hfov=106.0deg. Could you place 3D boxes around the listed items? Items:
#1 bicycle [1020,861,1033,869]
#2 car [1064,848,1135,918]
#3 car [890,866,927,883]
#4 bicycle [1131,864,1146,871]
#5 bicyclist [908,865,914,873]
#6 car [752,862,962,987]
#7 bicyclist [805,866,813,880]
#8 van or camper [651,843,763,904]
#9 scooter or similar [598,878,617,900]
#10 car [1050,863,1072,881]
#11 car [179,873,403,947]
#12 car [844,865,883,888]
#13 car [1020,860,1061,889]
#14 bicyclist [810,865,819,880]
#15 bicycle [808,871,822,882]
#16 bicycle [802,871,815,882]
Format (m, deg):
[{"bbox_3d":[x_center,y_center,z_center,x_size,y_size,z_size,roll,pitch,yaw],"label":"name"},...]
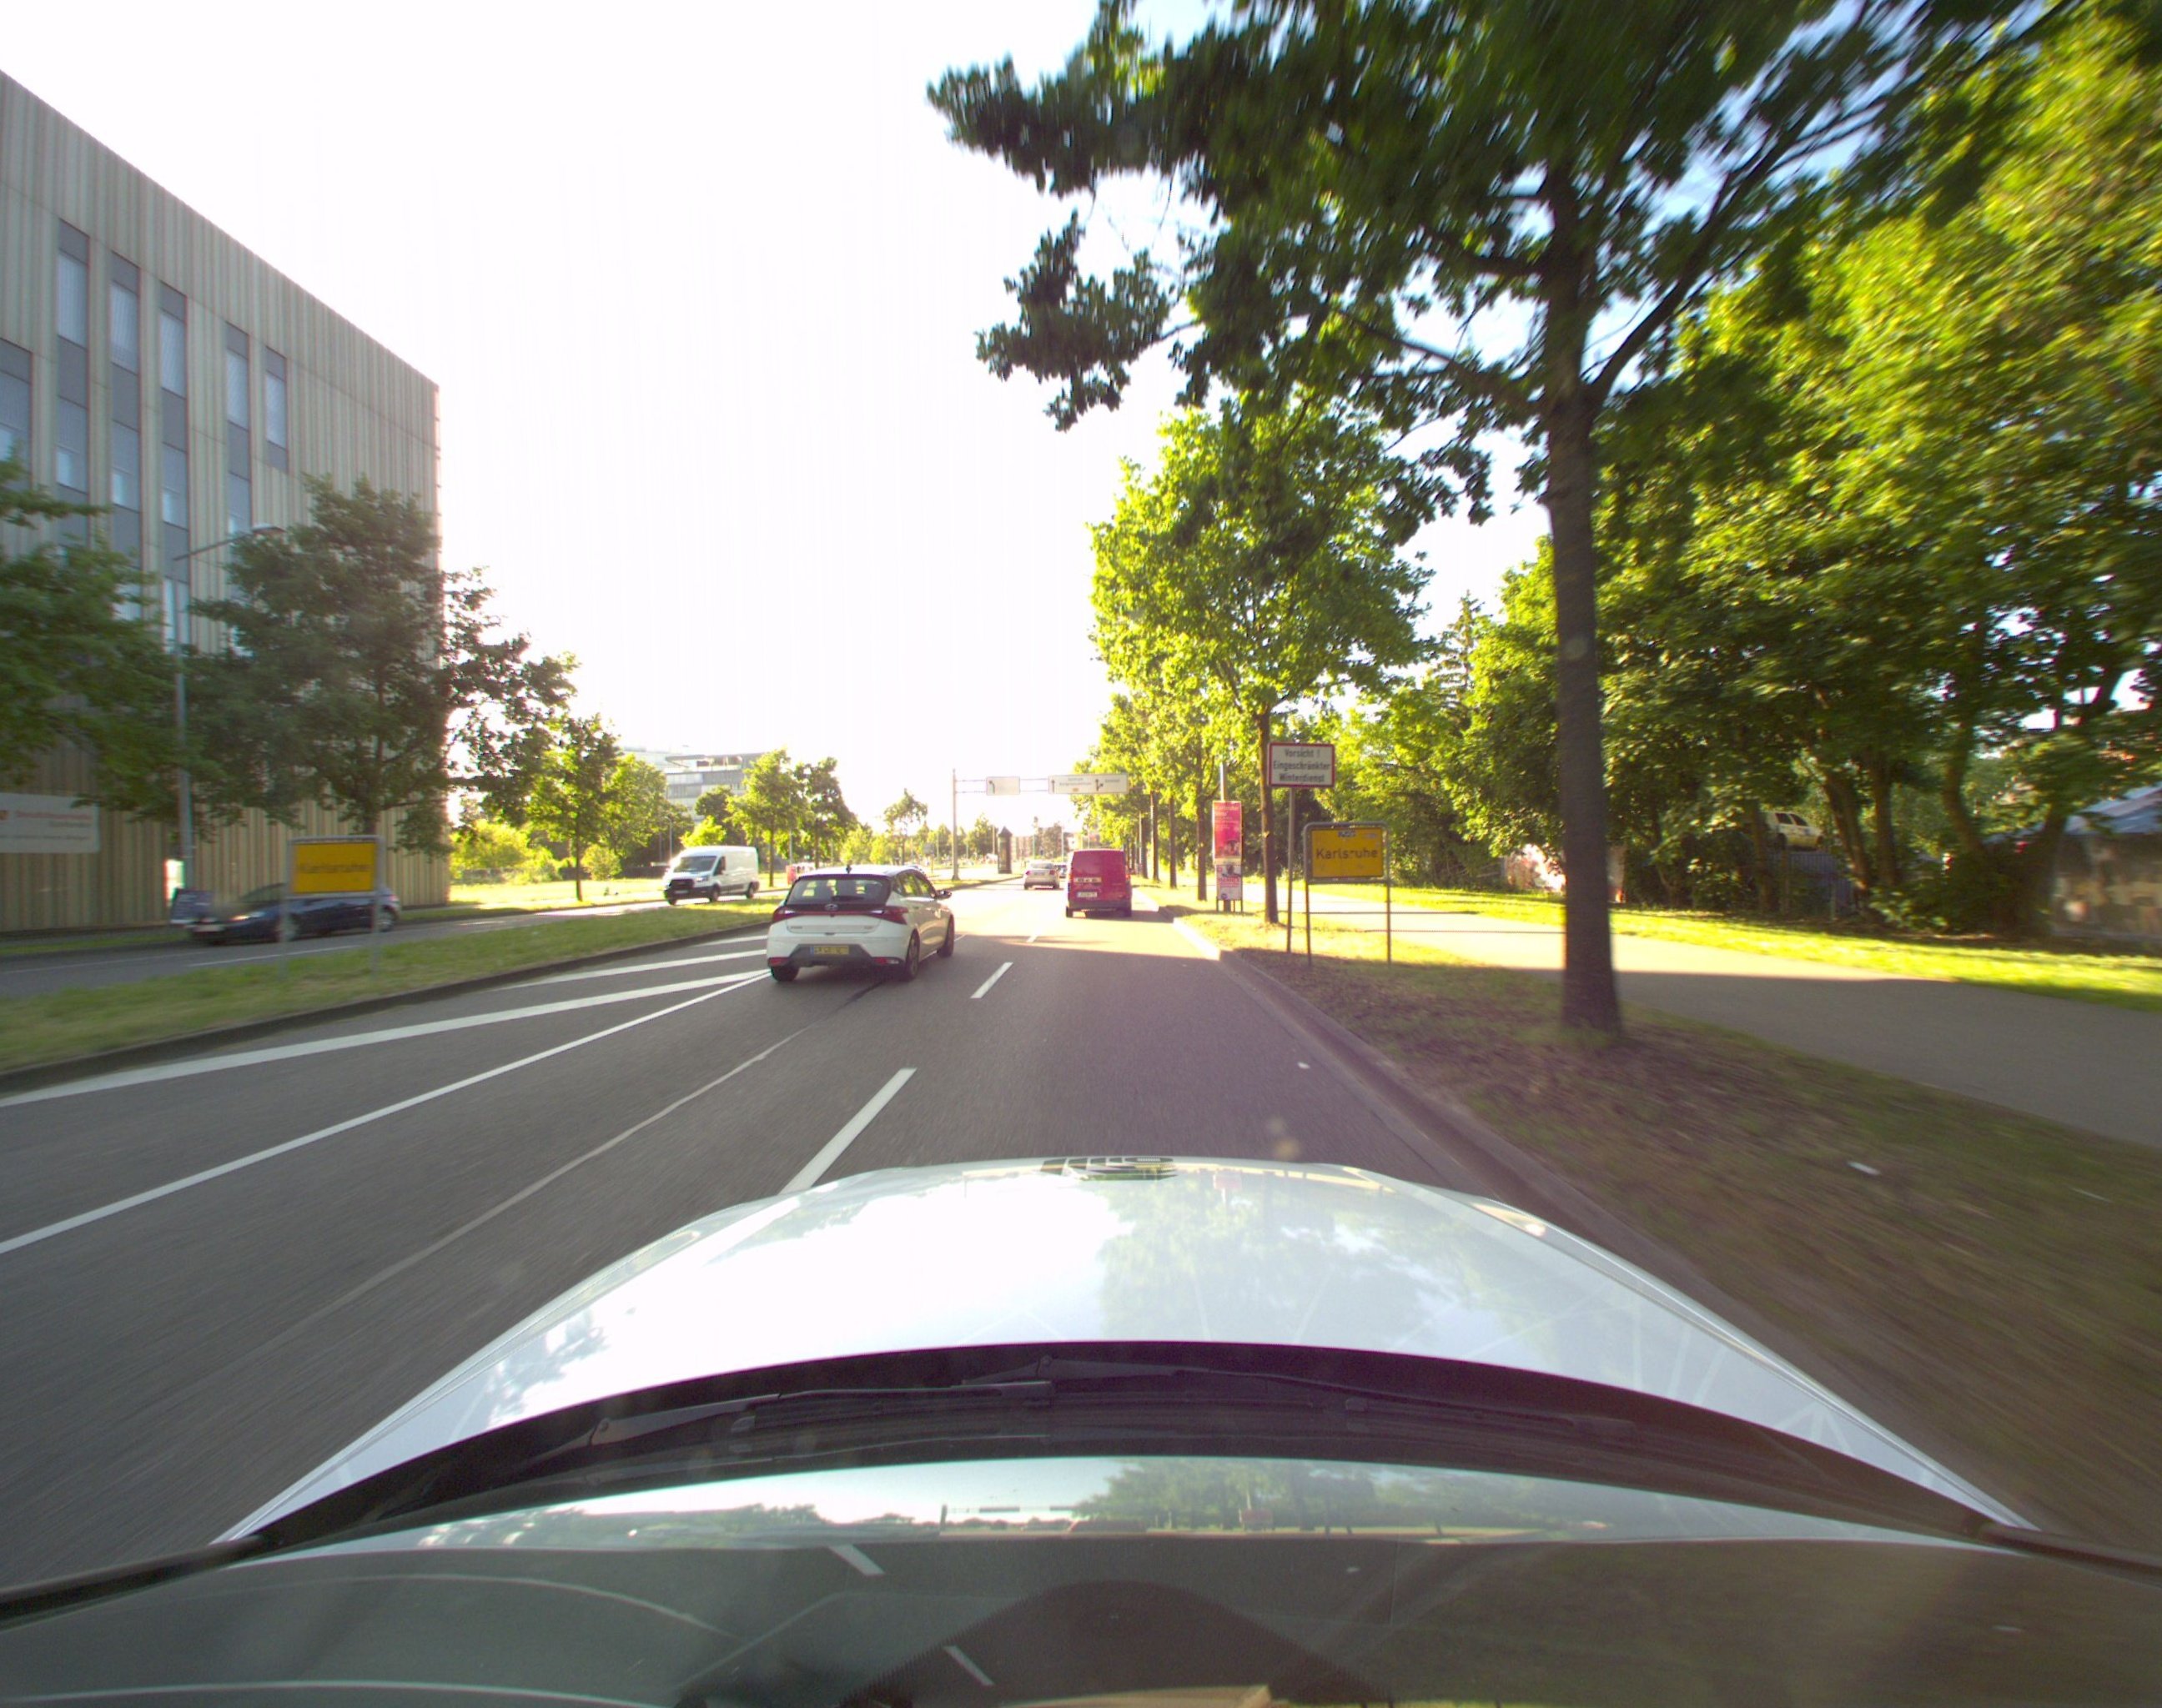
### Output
[{"bbox_3d":[-7.958,1.649,119.222,1.952,1.166,0.517,-1,-1,-1],"label":"bicycle"},{"bbox_3d":[0.504,0.745,22.620,1.800,1.759,4.006,0,0,1],"label":"car"},{"bbox_3d":[-12.487,1.452,59.145,1.822,1.111,4.172,-1,0,-1],"label":"car"},{"bbox_3d":[8.605,2.025,121.417,2.133,0.958,0.781,-1,-1,-31],"label":"bicycle"},{"bbox_3d":[-25.010,2.220,119.674,0.729,1.107,0.607,-1,-1,14],"label":"bicyclist"},{"bbox_3d":[-2.905,0.839,11.524,1.772,1.409,4.075,0,0,1],"label":"car"},{"bbox_3d":[-26.099,1.818,78.043,0.480,1.395,0.844,-1,-1,0],"label":"bicyclist"},{"bbox_3d":[-16.280,0.795,35.890,1.987,2.368,5.993,-3,0,1],"label":"van or camper"},{"bbox_3d":[-25.713,1.897,44.251,0.230,1.149,1.328,-1,-1,1],"label":"scooter or similar"},{"bbox_3d":[-1.596,1.430,65.987,1.655,1.398,3.559,-1,0,1],"label":"car"},{"bbox_3d":[-19.066,1.288,19.933,1.545,1.508,4.025,-1,0,0],"label":"car"},{"bbox_3d":[-15.224,1.575,57.201,1.683,1.476,4.048,-1,0,-1],"label":"car"},{"bbox_3d":[-2.117,1.046,43.673,1.834,1.456,4.163,0,0,1],"label":"car"},{"bbox_3d":[-25.272,1.772,77.304,0.560,1.392,0.747,-1,-1,0],"label":"bicyclist"},{"bbox_3d":[-25.256,2.127,77.404,0.568,1.003,2.096,-1,-1,0],"label":"bicycle"},{"bbox_3d":[-26.092,2.152,78.015,0.485,1.003,2.096,-1,-1,0],"label":"bicycle"}]
